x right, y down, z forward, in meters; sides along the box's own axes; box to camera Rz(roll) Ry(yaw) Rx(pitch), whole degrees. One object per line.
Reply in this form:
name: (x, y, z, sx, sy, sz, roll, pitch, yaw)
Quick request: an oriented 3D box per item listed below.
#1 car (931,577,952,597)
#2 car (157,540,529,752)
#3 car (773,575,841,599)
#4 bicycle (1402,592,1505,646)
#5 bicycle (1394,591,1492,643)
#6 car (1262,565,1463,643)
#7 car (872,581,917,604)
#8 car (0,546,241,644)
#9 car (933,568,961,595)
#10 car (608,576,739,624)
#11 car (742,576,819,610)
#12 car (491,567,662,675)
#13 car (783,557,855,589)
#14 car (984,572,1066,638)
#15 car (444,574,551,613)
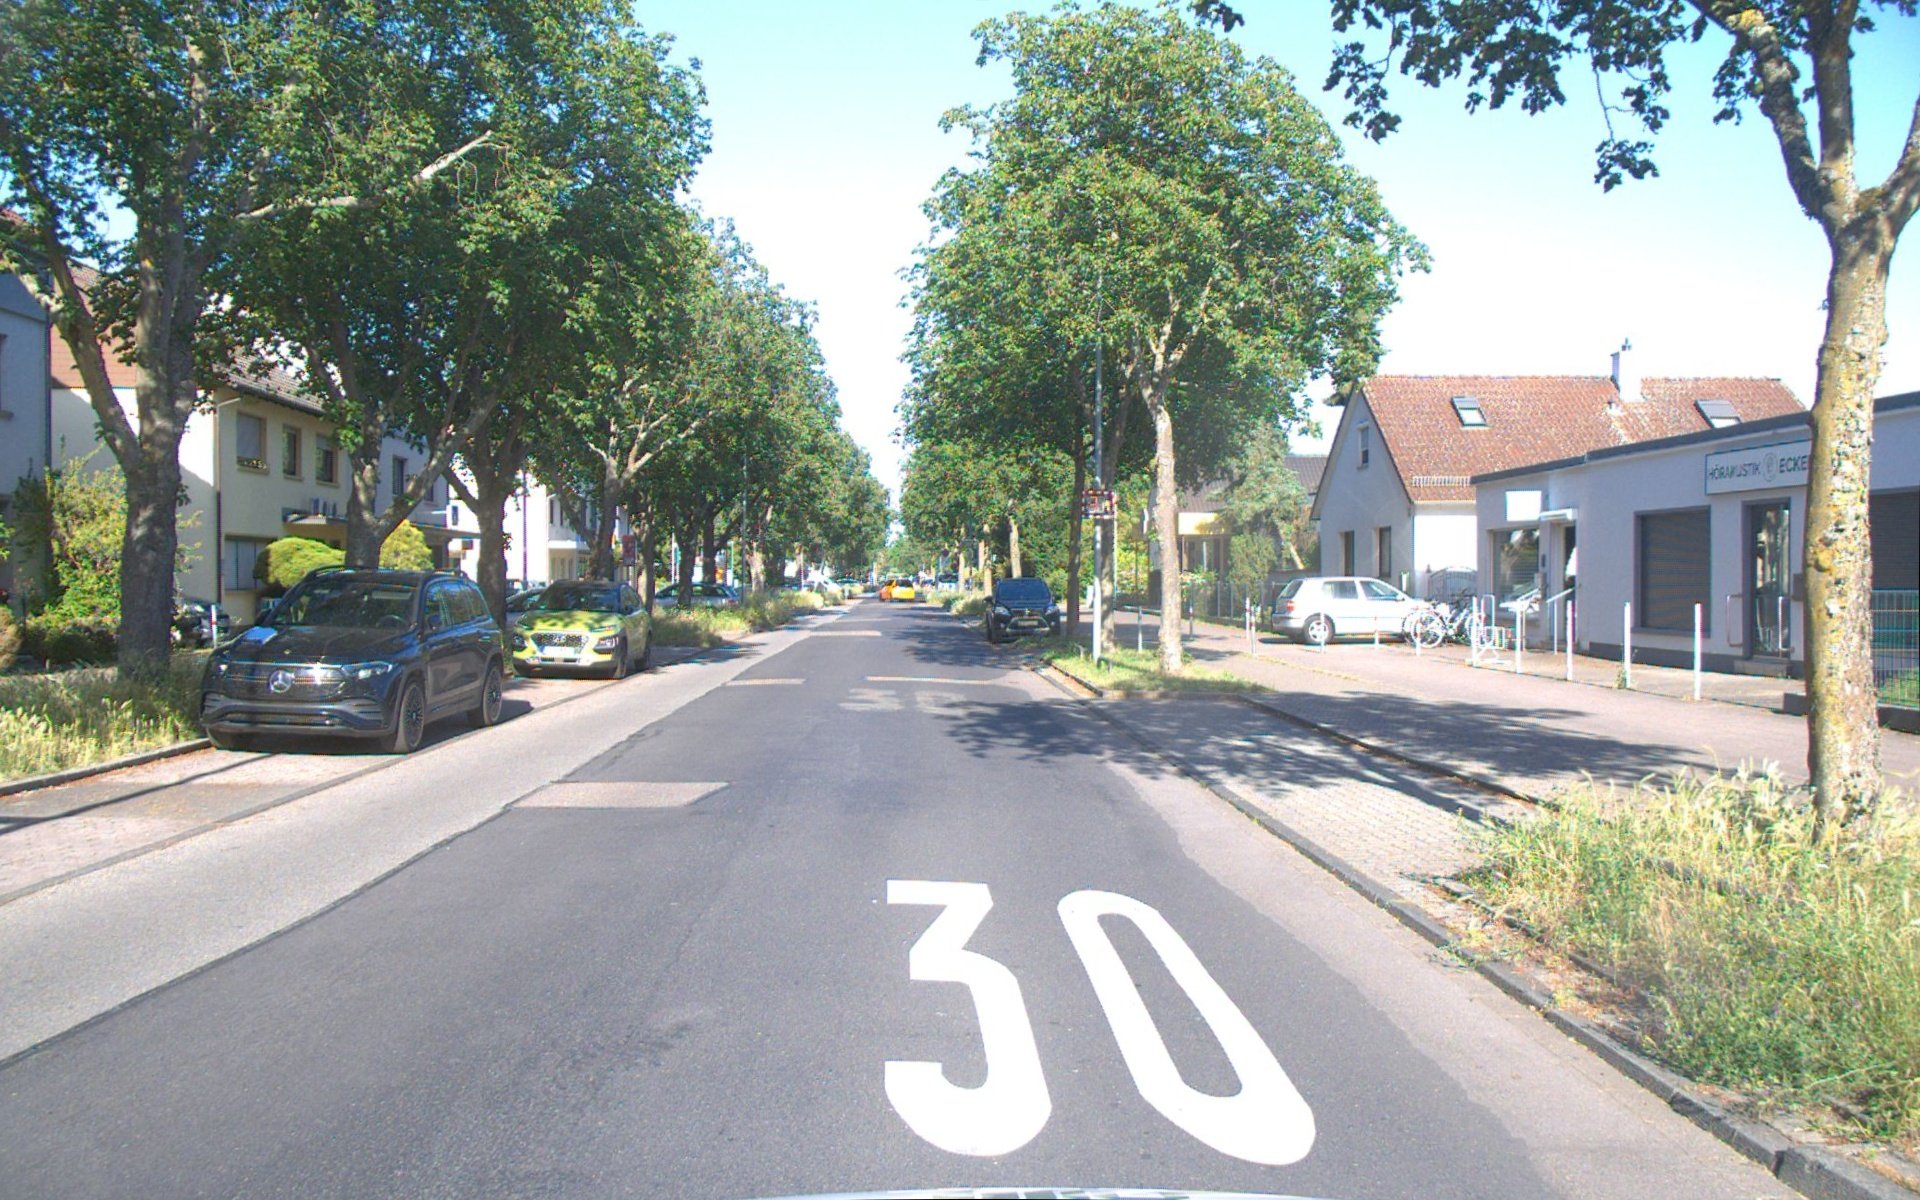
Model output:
car: (-1.719, -1.195, 155.784, 1.864, 1.805, 4.300, 2, 0, -2)
car: (-5.880, 0.399, 16.515, 1.914, 1.757, 4.874, 2, 0, -1)
car: (-9.695, -0.822, 104.702, 4.205, 1.337, 1.907, 1, 2, -7)
bicycle: (9.985, 0.385, 33.489, 1.919, 1.016, 0.576, -1, 2, -4)
bicycle: (10.068, 0.348, 34.483, 1.885, 1.016, 0.576, -1, 2, -4)
car: (8.846, 0.065, 36.543, 3.908, 1.514, 1.901, -2, 2, -3)
car: (-4.537, -0.527, 114.341, 1.861, 1.504, 3.863, 2, 1, -22)
car: (-16.606, -0.116, 32.448, 4.153, 1.743, 1.997, 1, 2, -7)
car: (-0.955, -1.311, 117.429, 1.864, 1.805, 4.300, 2, 0, -2)
car: (-10.444, -0.012, 60.537, 4.463, 1.537, 1.841, 2, 2, -3)
car: (-10.645, -0.425, 98.047, 4.459, 1.796, 1.998, 1, 2, -7)
car: (-6.384, 0.334, 28.000, 1.900, 1.637, 4.382, 2, 0, -1)
car: (-10.709, -2.077, 126.018, 5.390, 2.286, 2.515, 1, 2, -4)
car: (1.702, 0.120, 44.449, 1.816, 1.654, 4.467, -1, 0, -2)
car: (-21.402, -0.311, 76.702, 4.467, 1.646, 1.998, 1, 2, -6)
